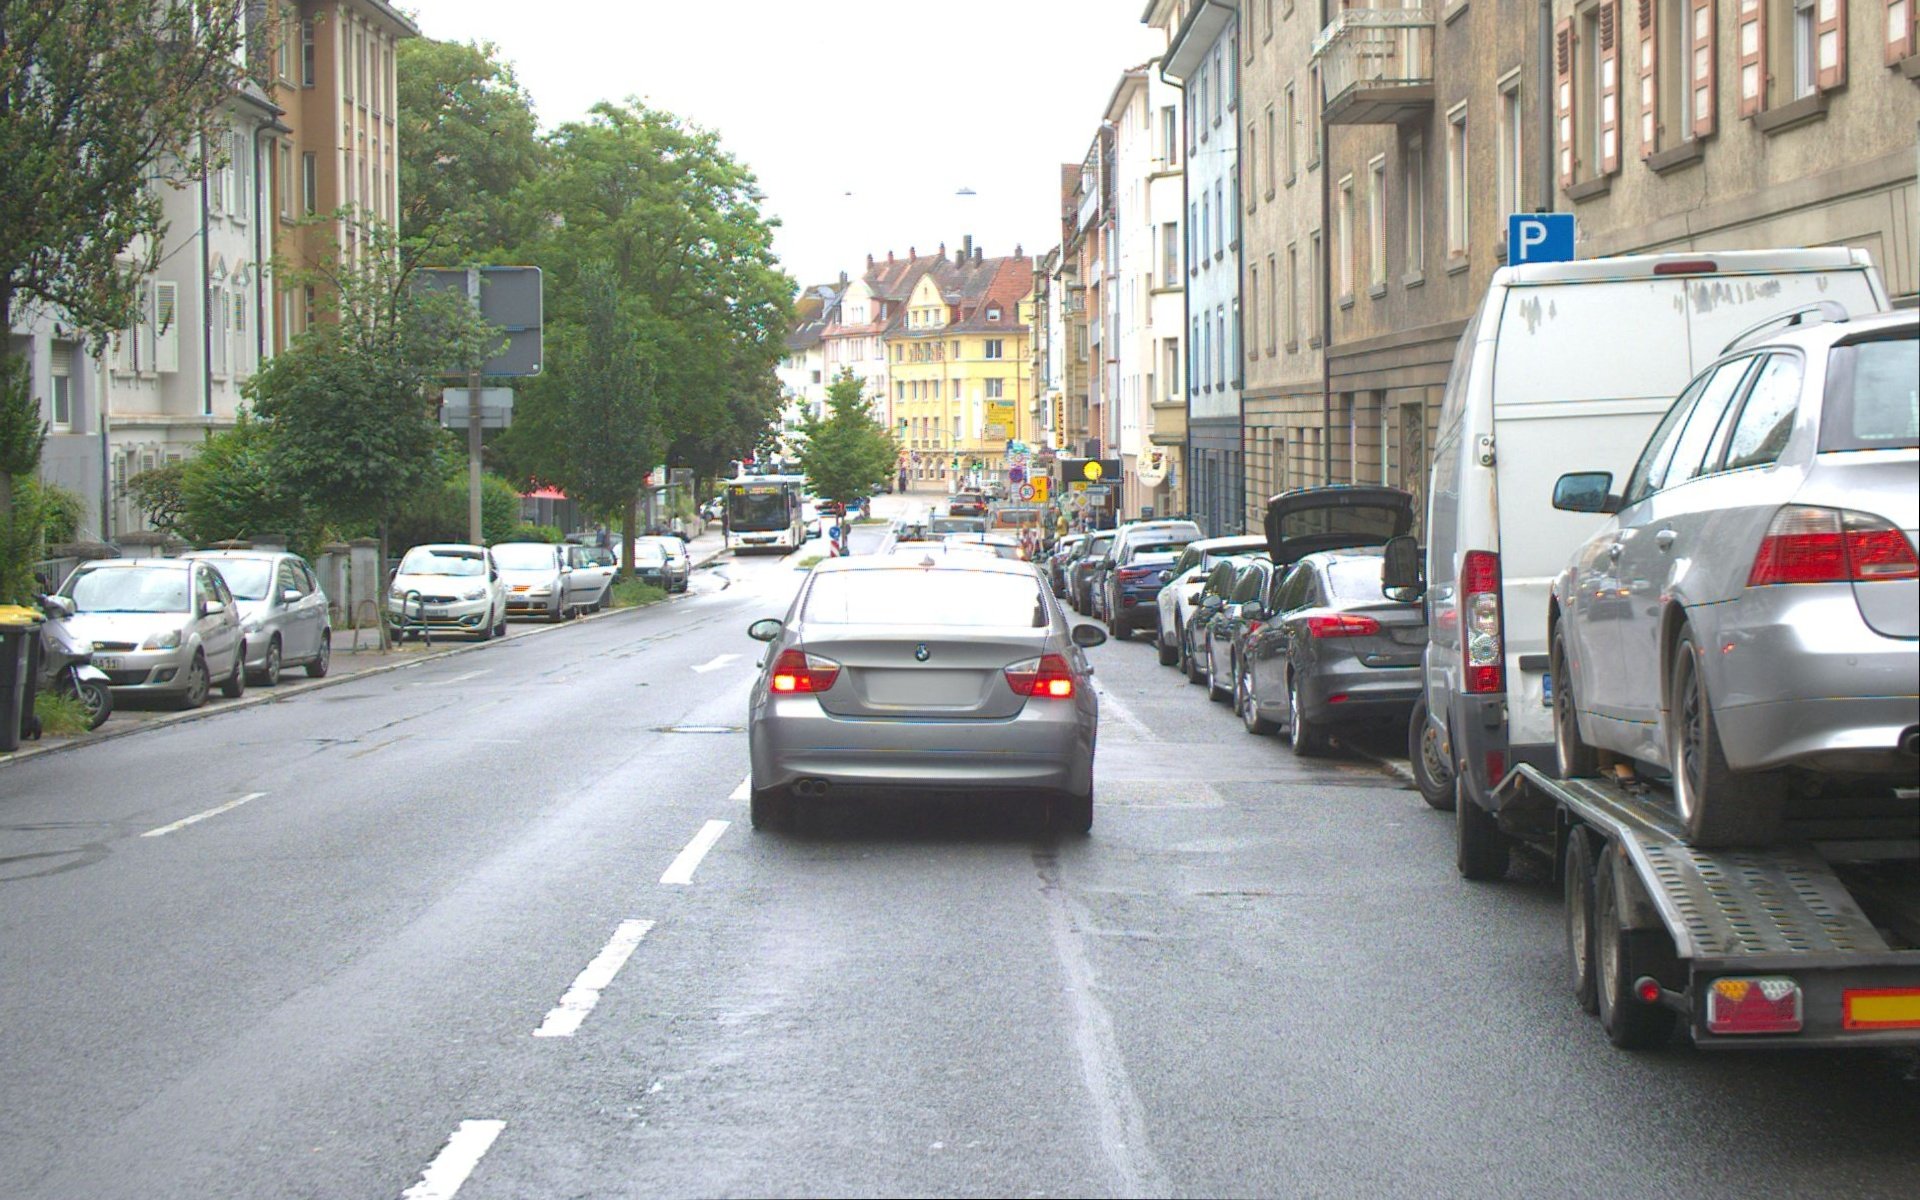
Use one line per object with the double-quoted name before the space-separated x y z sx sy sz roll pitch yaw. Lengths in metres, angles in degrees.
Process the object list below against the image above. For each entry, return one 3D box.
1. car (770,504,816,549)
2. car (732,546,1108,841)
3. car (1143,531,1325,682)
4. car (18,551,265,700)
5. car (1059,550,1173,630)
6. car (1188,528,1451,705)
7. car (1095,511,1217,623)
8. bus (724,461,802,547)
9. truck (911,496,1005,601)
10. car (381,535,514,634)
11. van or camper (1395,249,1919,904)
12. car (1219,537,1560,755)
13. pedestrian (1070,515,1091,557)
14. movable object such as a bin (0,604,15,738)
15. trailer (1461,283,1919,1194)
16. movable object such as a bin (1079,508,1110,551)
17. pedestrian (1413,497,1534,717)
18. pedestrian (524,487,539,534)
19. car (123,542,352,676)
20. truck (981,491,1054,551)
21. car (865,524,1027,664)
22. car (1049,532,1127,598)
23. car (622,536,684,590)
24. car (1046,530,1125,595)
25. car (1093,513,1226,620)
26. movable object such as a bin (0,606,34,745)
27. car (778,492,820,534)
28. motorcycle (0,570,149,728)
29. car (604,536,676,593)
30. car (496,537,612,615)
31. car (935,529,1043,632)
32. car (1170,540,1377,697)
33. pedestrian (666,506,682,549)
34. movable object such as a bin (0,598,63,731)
"car" -8.033 -3.523 165.587 1.993 2.007 4.000 3 0 -1
"car" -0.202 0.441 18.006 1.756 1.358 3.165 2 0 0
"car" 3.239 0.040 41.306 1.632 1.633 4.195 3 1 -2
"car" -8.119 0.232 34.398 1.600 1.392 3.888 0 0 -1
"car" 2.959 -0.217 66.064 1.840 1.404 4.388 -2 1 -1
"car" 3.166 0.124 31.091 1.777 1.474 4.588 0 0 -1
"car" 3.336 -0.594 59.241 1.790 1.811 4.080 -1 1 0
"bus" -8.196 -3.956 144.094 2.681 3.189 11.957 3 0 -1
"truck" -0.085 -1.320 89.573 2.216 2.535 4.780 3 0 -1
"car" -8.157 -0.249 54.969 1.646 1.503 3.797 1 0 -2
"van or camper" 3.384 -0.161 17.399 2.185 2.690 6.418 0 1 6
"car" 3.066 0.295 25.354 1.777 1.474 4.190 0 0 -3
"pedestrian" 4.872 -2.584 138.880 0.750 1.655 0.754 3 0 5
"movable object such as a bin" -7.844 0.553 27.463 0.471 1.054 0.484 3 0 -9
"trailer" 2.846 0.219 10.640 1.994 2.145 5.072 -2 2 2
"movable object such as a bin" 5.402 -2.809 137.919 1.122 1.697 1.434 -1 0 -3
"pedestrian" 4.246 0.058 28.407 0.712 1.781 0.685 -2 0 34
"pedestrian" -16.458 -3.423 131.953 0.464 1.783 0.545 3 0 -7
"car" -8.222 0.092 39.418 1.601 1.446 3.887 0 0 3
"truck" 2.155 -2.988 130.773 2.215 2.109 4.653 4 1 -4
"car" -0.193 -0.073 38.293 1.601 1.415 3.288 3 0 -3
"car" 2.927 -0.821 79.121 1.583 1.425 3.595 -2 1 0
"car" -8.482 -1.040 95.169 1.631 1.449 3.840 1 1 -4
"car" 3.153 -0.967 87.176 1.818 1.552 4.293 -1 1 0
"car" 3.030 -0.545 52.960 1.790 1.543 4.226 -1 1 0
"movable object such as a bin" -7.687 0.567 26.671 0.825 1.054 0.483 3 0 1
"car" -8.400 -4.560 179.935 1.993 2.007 4.000 3 0 -1
"motorcycle" -7.879 0.402 29.791 1.810 1.310 0.740 1 1 41
"car" -8.392 -0.958 90.492 1.653 1.449 3.943 0 1 -2
"car" -7.655 -0.477 65.045 1.682 1.385 3.909 1 1 0
"car" 0.441 -0.278 49.756 1.436 1.352 3.762 3 0 1
"car" 3.225 0.156 35.984 1.632 1.473 3.735 3 1 -2
"pedestrian" -11.513 -2.905 138.545 0.543 1.703 0.466 3 0 -7
"movable object such as a bin" -7.736 0.525 28.290 0.524 1.054 0.483 3 0 1
